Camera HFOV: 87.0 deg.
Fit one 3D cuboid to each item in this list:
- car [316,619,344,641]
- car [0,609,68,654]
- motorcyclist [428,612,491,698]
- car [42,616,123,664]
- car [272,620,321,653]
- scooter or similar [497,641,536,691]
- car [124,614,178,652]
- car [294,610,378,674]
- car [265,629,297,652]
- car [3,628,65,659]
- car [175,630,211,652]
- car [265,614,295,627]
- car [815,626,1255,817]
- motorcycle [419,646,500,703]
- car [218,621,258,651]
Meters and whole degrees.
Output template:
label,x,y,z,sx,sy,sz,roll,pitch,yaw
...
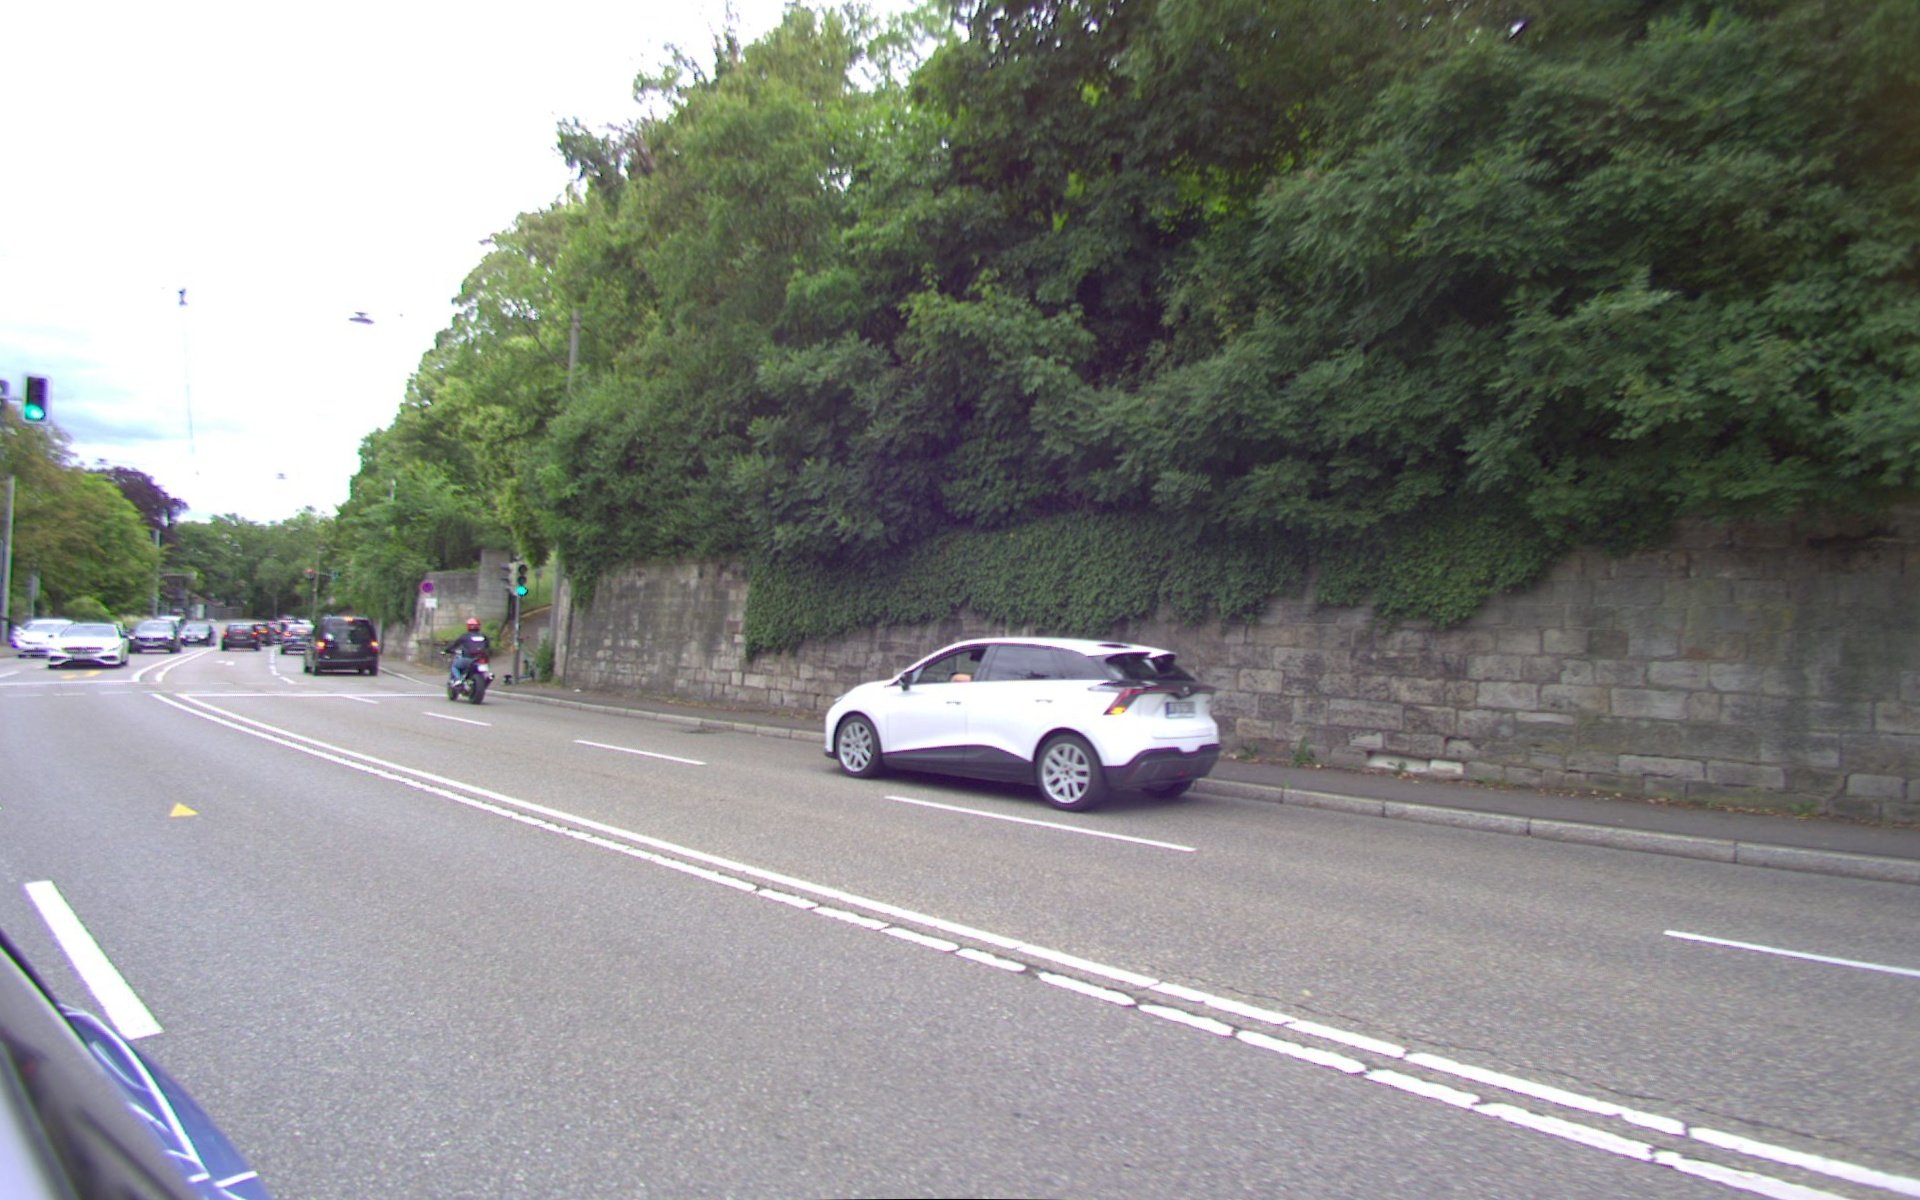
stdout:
label,x,y,z,sx,sy,sz,roll,pitch,yaw
car,-57.779,2.760,92.771,1.867,1.862,4.407,4,-4,-35
car,-38.283,1.319,41.877,1.929,1.785,4.006,3,-4,-41
motorcyclist,-10.279,1.127,20.778,1.338,1.718,0.641,-2,-5,42
car,-27.532,1.281,31.843,1.776,1.401,3.533,4,-4,-40
car,-35.405,1.977,54.072,1.966,1.620,4.489,5,-4,-31
scooter or similar,-11.881,1.759,27.151,0.429,1.246,1.096,-2,1,6
car,-39.788,1.649,49.849,1.928,1.753,4.008,3,-3,-38
car,-19.925,1.346,32.223,1.721,1.860,4.257,5,-5,-37
car,-55.760,3.324,83.117,1.933,1.763,4.892,3,-3,-32
car,-48.229,2.232,52.784,1.653,1.472,4.377,5,-4,-33
car,-50.077,2.650,66.125,1.806,1.387,4.009,3,-3,-36
car,-82.333,2.516,122.483,4.452,1.420,1.824,0,-4,40
car,0.600,1.053,10.019,4.099,1.478,1.763,-1,-5,42
motorcycle,-10.258,1.511,20.701,2.307,1.082,0.643,-1,-5,42
car,-41.382,2.062,58.069,1.731,1.578,3.688,4,-4,-35
